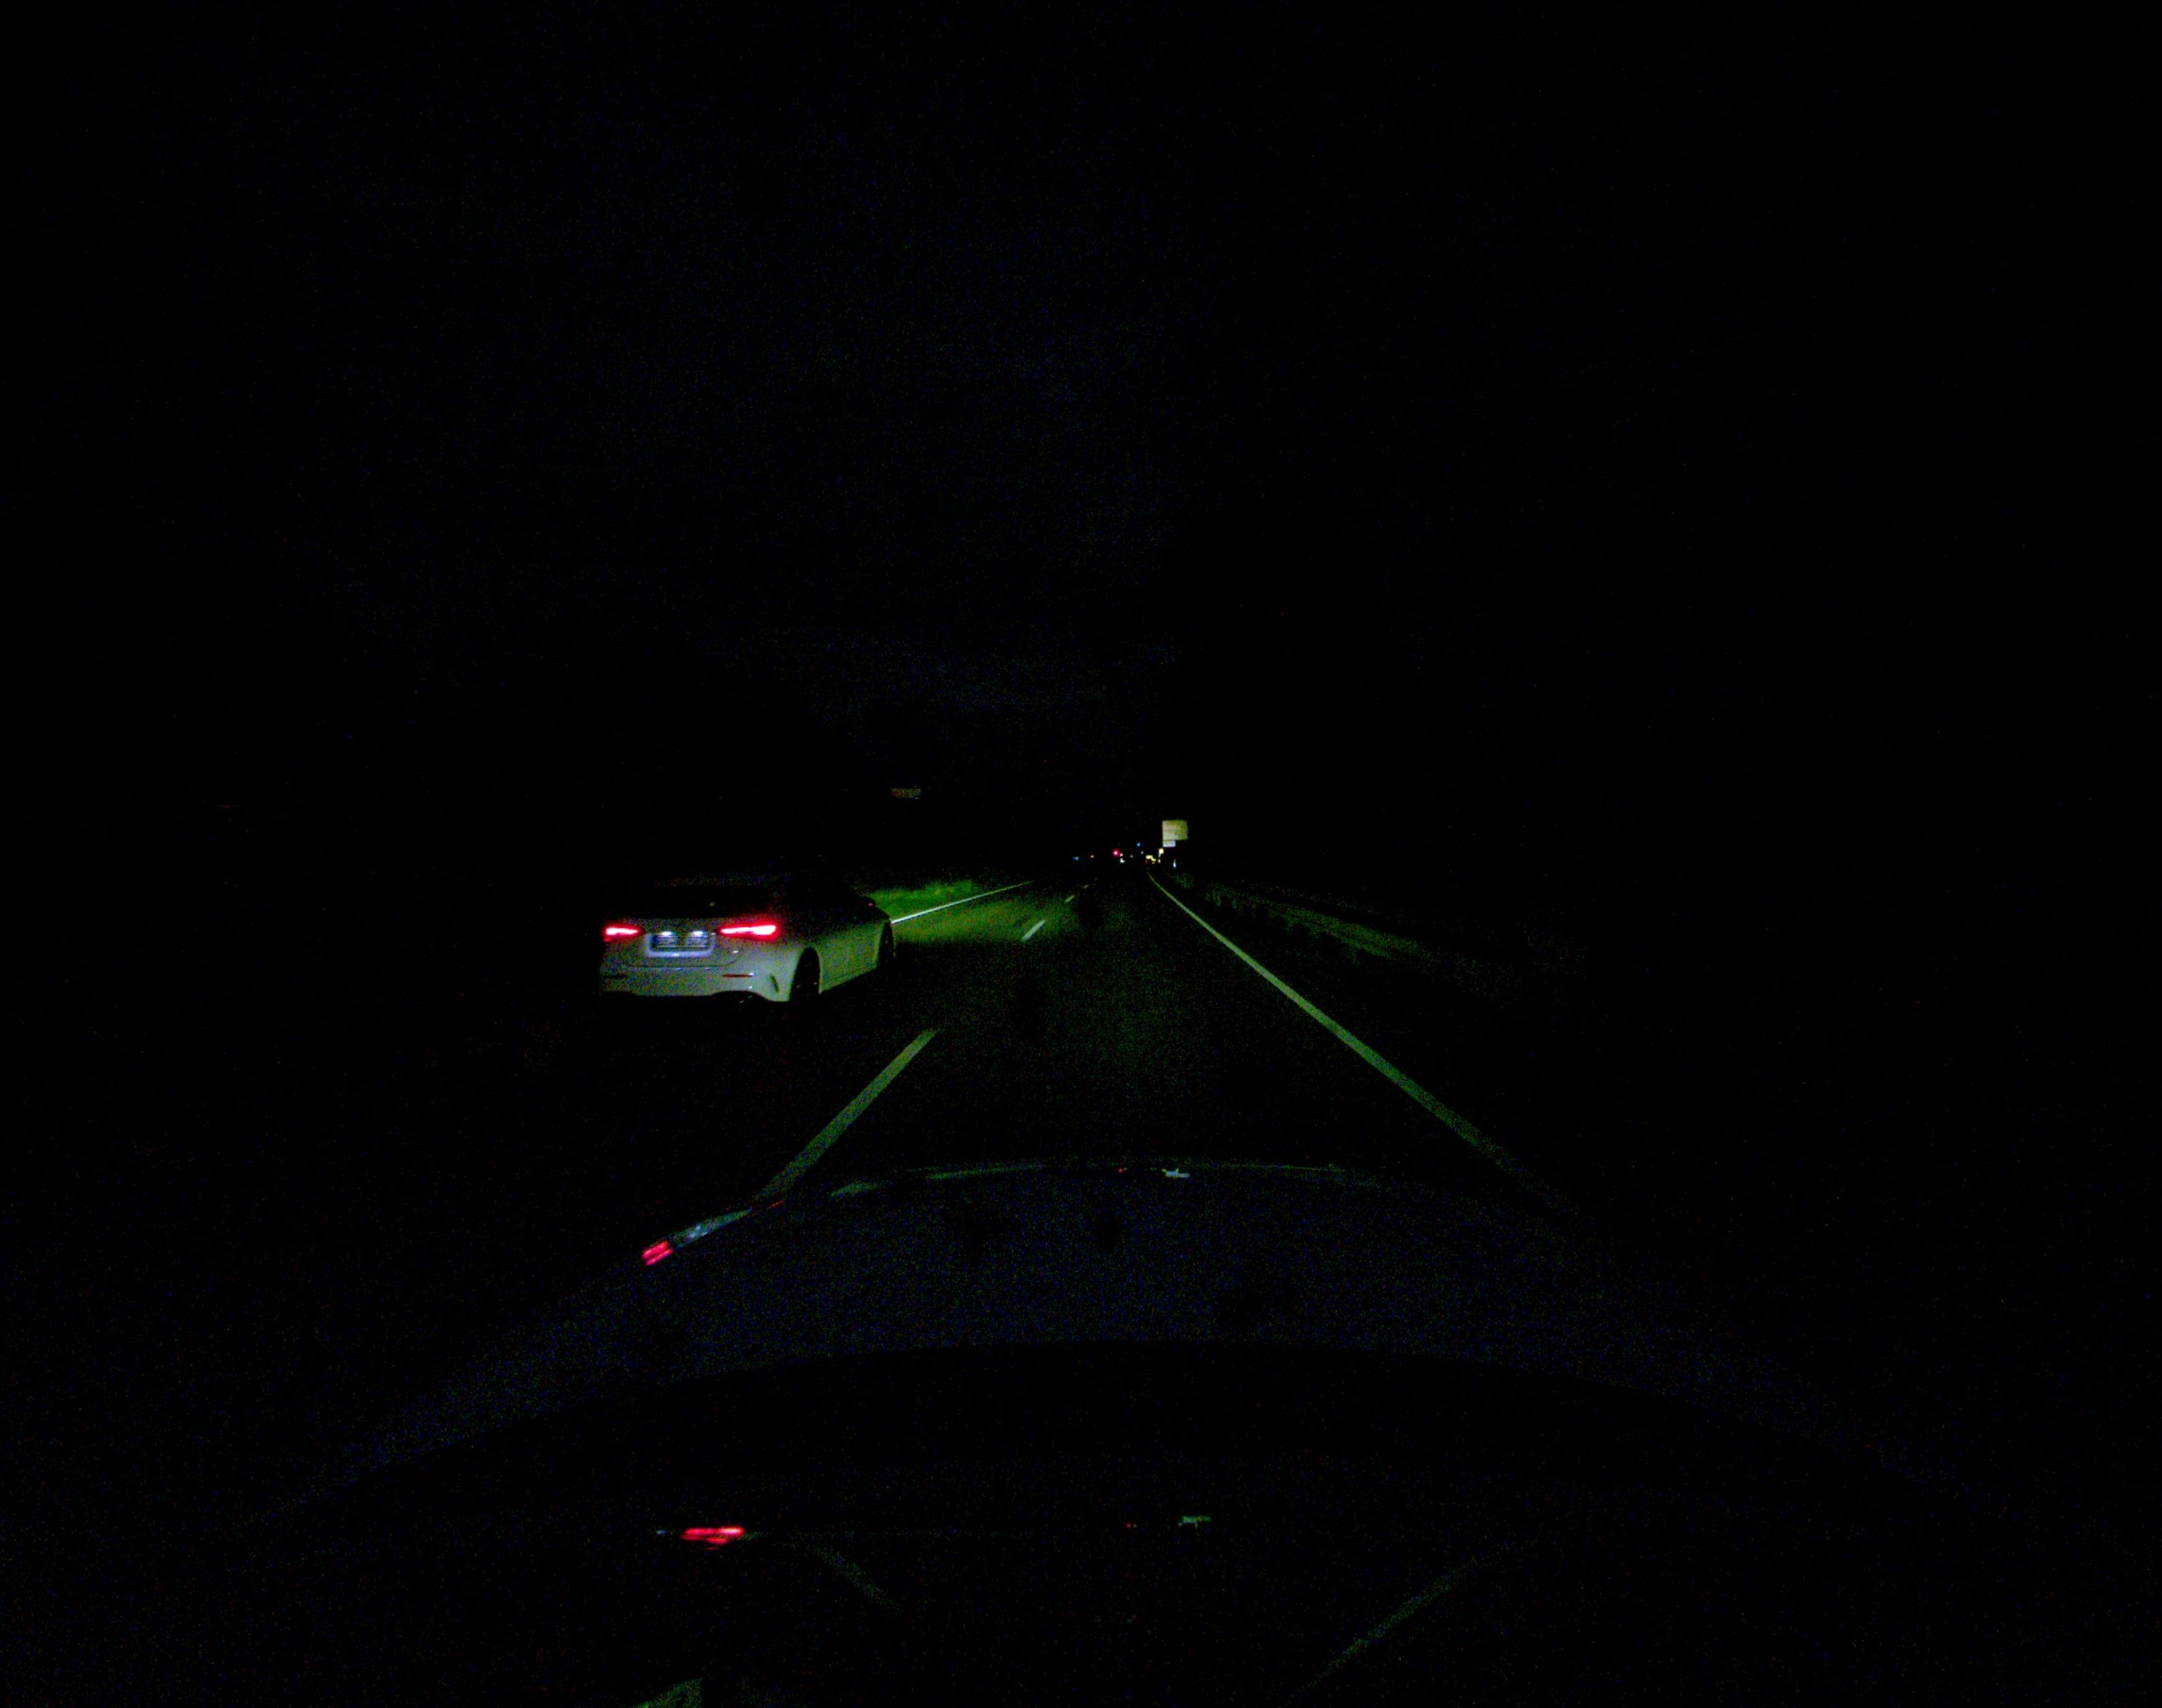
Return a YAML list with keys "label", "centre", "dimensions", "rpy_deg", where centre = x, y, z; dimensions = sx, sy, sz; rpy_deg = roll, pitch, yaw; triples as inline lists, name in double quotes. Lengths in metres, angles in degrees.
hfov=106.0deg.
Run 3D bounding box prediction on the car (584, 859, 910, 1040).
- label: "car"
  centre: [-3.282, 0.811, 9.108]
  dimensions: [1.636, 1.490, 4.581]
  rpy_deg: [-1, 0, 1]
